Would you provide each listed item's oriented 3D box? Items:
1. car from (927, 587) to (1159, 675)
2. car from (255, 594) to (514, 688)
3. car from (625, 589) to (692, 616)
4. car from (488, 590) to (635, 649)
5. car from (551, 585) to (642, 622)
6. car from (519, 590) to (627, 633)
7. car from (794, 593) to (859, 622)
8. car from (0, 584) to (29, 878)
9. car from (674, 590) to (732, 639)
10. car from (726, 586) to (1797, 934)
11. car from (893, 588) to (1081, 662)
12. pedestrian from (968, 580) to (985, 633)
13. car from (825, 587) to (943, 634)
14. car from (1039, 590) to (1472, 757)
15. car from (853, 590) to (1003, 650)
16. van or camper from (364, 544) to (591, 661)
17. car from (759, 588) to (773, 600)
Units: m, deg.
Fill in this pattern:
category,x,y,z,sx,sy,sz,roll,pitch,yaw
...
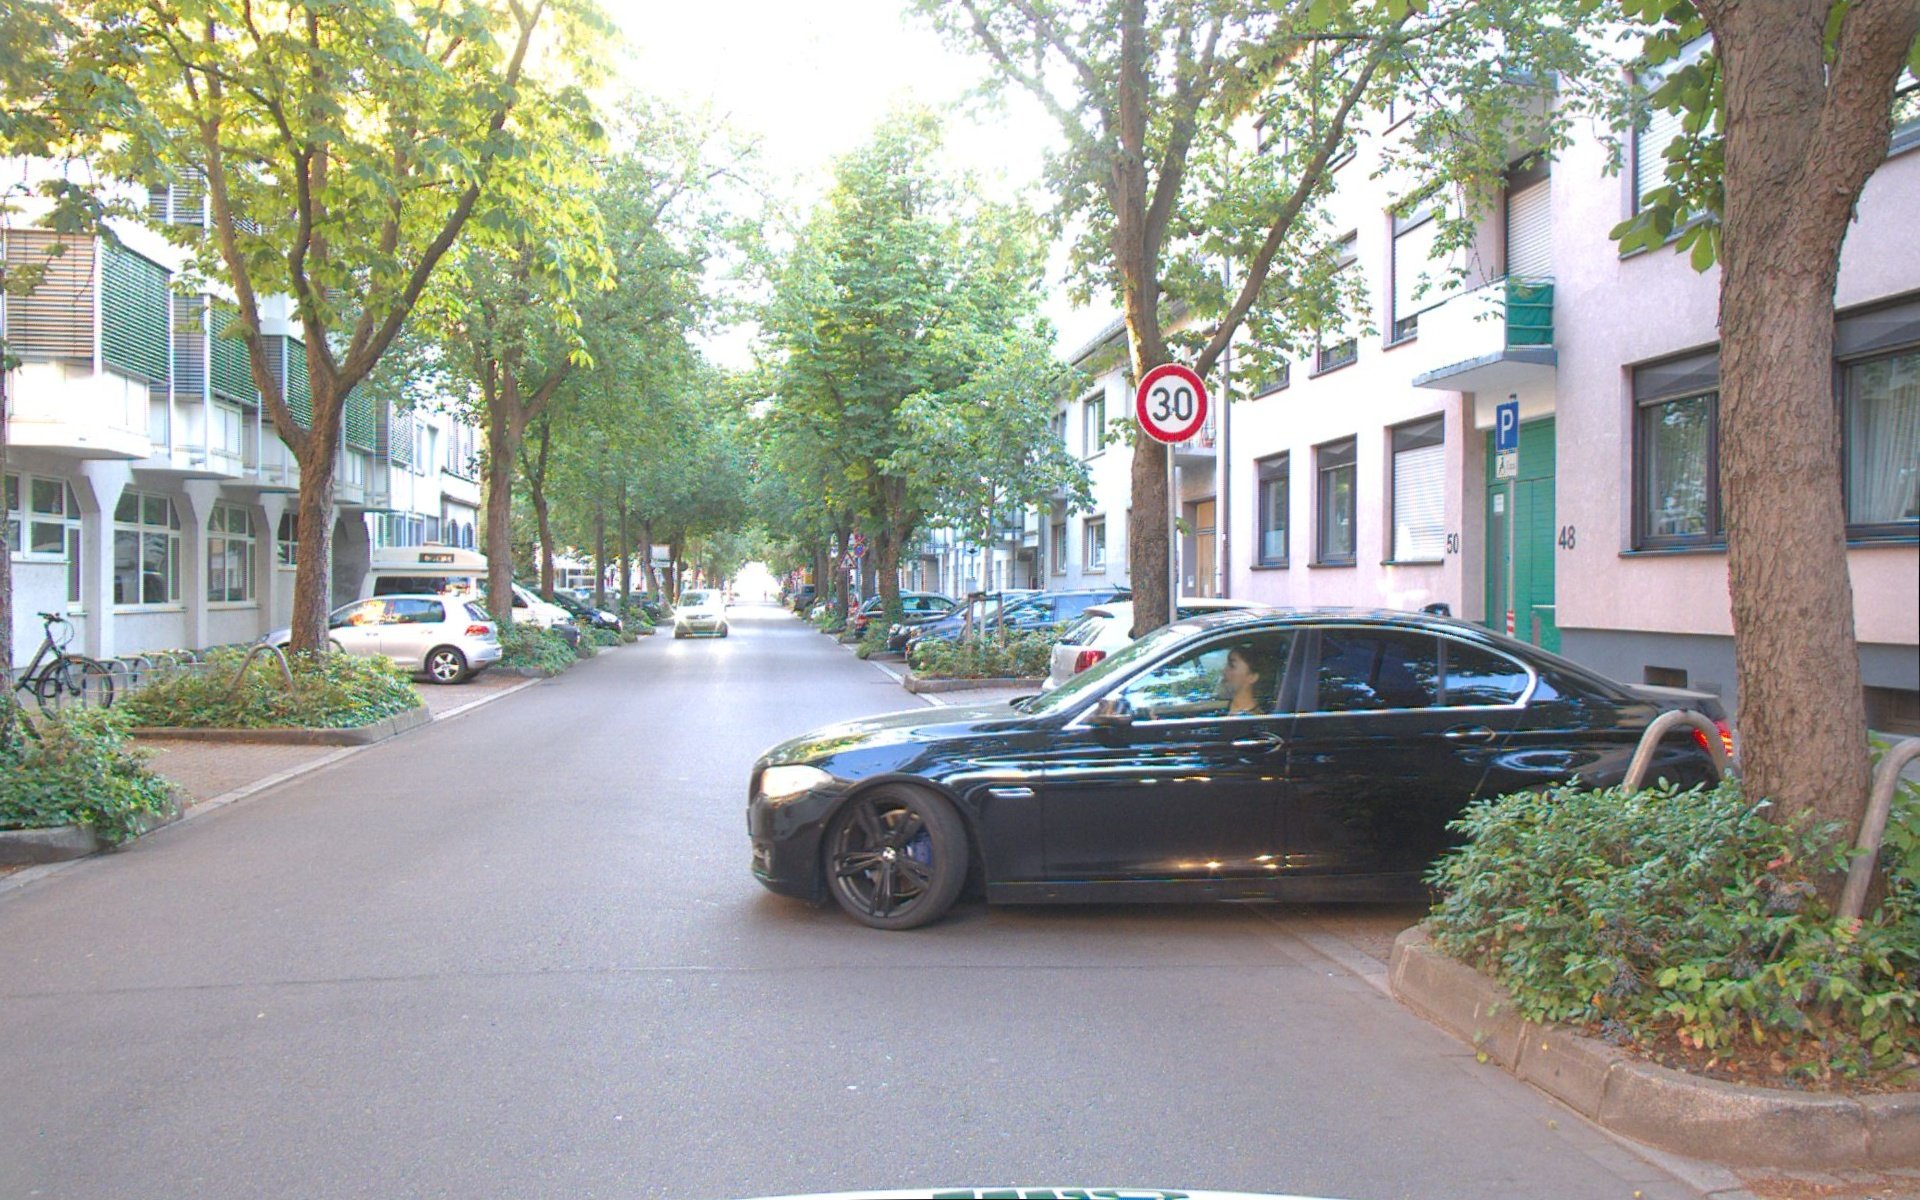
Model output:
category,x,y,z,sx,sy,sz,roll,pitch,yaw
car,1.456,0.529,29.678,3.894,1.502,1.781,0,0,-9
car,-9.854,0.677,28.571,3.891,1.544,1.783,0,0,-6
car,-18.546,0.164,101.909,3.891,1.647,1.783,0,0,-6
car,-11.480,0.556,47.851,3.891,1.647,1.783,0,0,-6
car,-16.628,0.141,75.859,3.891,1.647,1.783,0,0,-6
car,-14.998,0.431,64.265,3.891,1.647,1.783,0,0,-6
car,-8.147,0.452,100.636,3.891,1.713,1.783,0,0,-6
car,-7.099,0.702,7.859,4.272,1.544,1.782,0,0,-7
car,-8.757,0.470,56.589,1.745,1.589,4.162,0,0,-6
car,1.322,0.690,8.098,4.647,1.506,1.800,0,0,1
car,0.552,0.517,36.140,3.893,1.554,1.782,0,0,-8
pedestrian,0.636,0.252,64.076,0.577,2.049,0.669,0,0,-6
car,-2.616,0.353,56.769,3.894,1.554,1.782,0,0,-9
car,2.810,0.659,16.097,3.836,1.502,1.661,0,0,-9
car,-0.898,0.526,44.928,3.893,1.554,1.782,0,0,-8
van or camper,-10.663,0.049,36.873,4.575,2.521,1.997,0,0,-7
car,-24.947,-0.751,213.147,1.787,1.557,3.995,0,0,-6
